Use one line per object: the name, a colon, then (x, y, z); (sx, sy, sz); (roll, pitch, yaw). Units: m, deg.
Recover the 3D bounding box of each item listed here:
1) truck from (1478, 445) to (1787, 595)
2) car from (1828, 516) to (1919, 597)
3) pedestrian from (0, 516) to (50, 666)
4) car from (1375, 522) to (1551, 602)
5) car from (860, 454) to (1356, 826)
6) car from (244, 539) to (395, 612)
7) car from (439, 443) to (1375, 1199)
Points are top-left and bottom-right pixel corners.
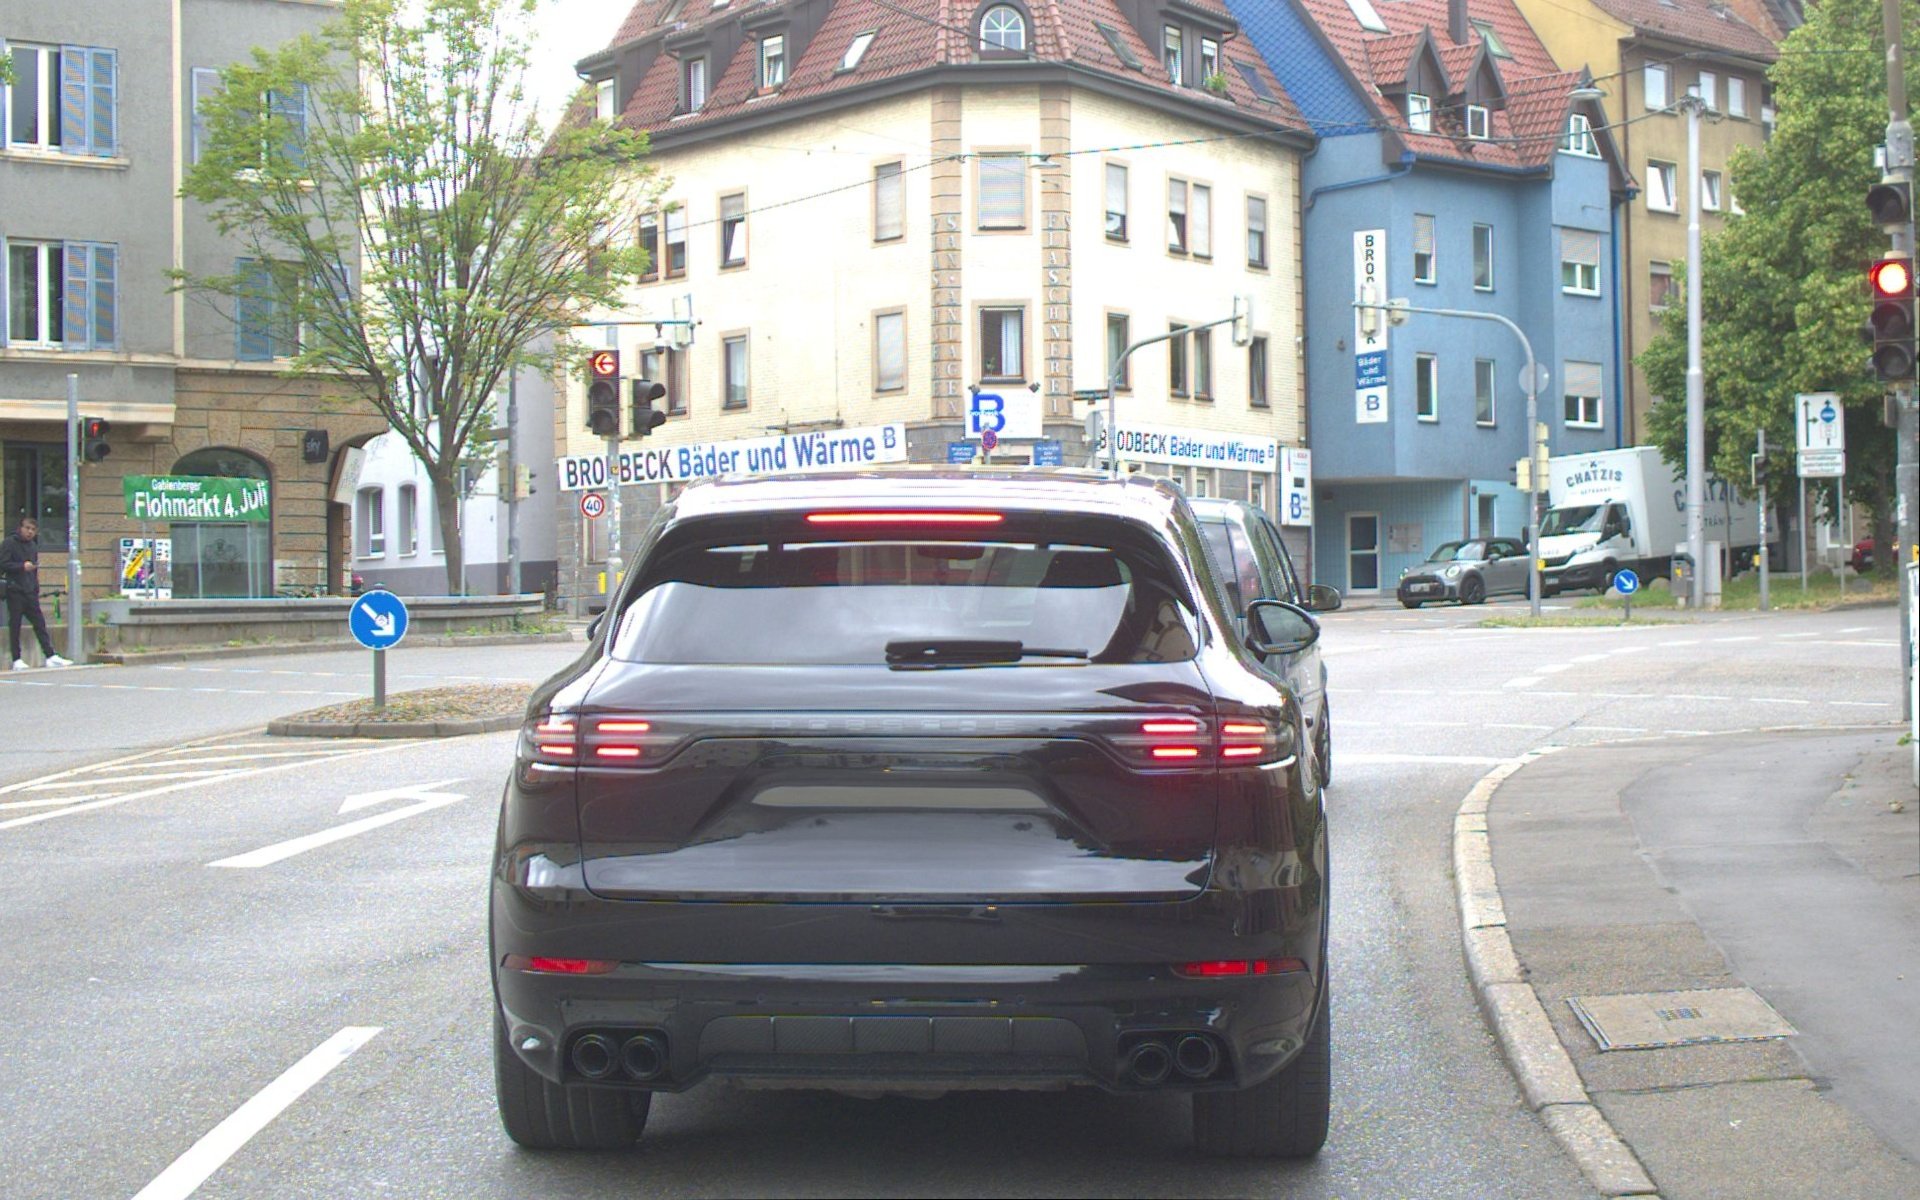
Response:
truck: (15.947, -1.835, 81.042); (2.880, 3.328, 8.771); (2, 1, 43)
car: (24.747, -1.113, 90.344); (1.999, 2.007, 3.990); (2, 1, 44)
pedestrian: (-10.960, -0.109, 40.096); (0.513, 1.724, 0.451); (2, 1, 2)
car: (10.903, -0.838, 74.357); (1.998, 1.678, 3.991); (1, 1, 40)
car: (0.887, 0.151, 17.629); (1.994, 1.678, 3.998); (0, 1, 11)
car: (-15.170, -0.586, 81.299); (1.994, 1.678, 3.999); (1, 0, -36)
car: (-0.203, 0.449, 9.281); (1.978, 1.678, 4.001); (0, 2, -3)
